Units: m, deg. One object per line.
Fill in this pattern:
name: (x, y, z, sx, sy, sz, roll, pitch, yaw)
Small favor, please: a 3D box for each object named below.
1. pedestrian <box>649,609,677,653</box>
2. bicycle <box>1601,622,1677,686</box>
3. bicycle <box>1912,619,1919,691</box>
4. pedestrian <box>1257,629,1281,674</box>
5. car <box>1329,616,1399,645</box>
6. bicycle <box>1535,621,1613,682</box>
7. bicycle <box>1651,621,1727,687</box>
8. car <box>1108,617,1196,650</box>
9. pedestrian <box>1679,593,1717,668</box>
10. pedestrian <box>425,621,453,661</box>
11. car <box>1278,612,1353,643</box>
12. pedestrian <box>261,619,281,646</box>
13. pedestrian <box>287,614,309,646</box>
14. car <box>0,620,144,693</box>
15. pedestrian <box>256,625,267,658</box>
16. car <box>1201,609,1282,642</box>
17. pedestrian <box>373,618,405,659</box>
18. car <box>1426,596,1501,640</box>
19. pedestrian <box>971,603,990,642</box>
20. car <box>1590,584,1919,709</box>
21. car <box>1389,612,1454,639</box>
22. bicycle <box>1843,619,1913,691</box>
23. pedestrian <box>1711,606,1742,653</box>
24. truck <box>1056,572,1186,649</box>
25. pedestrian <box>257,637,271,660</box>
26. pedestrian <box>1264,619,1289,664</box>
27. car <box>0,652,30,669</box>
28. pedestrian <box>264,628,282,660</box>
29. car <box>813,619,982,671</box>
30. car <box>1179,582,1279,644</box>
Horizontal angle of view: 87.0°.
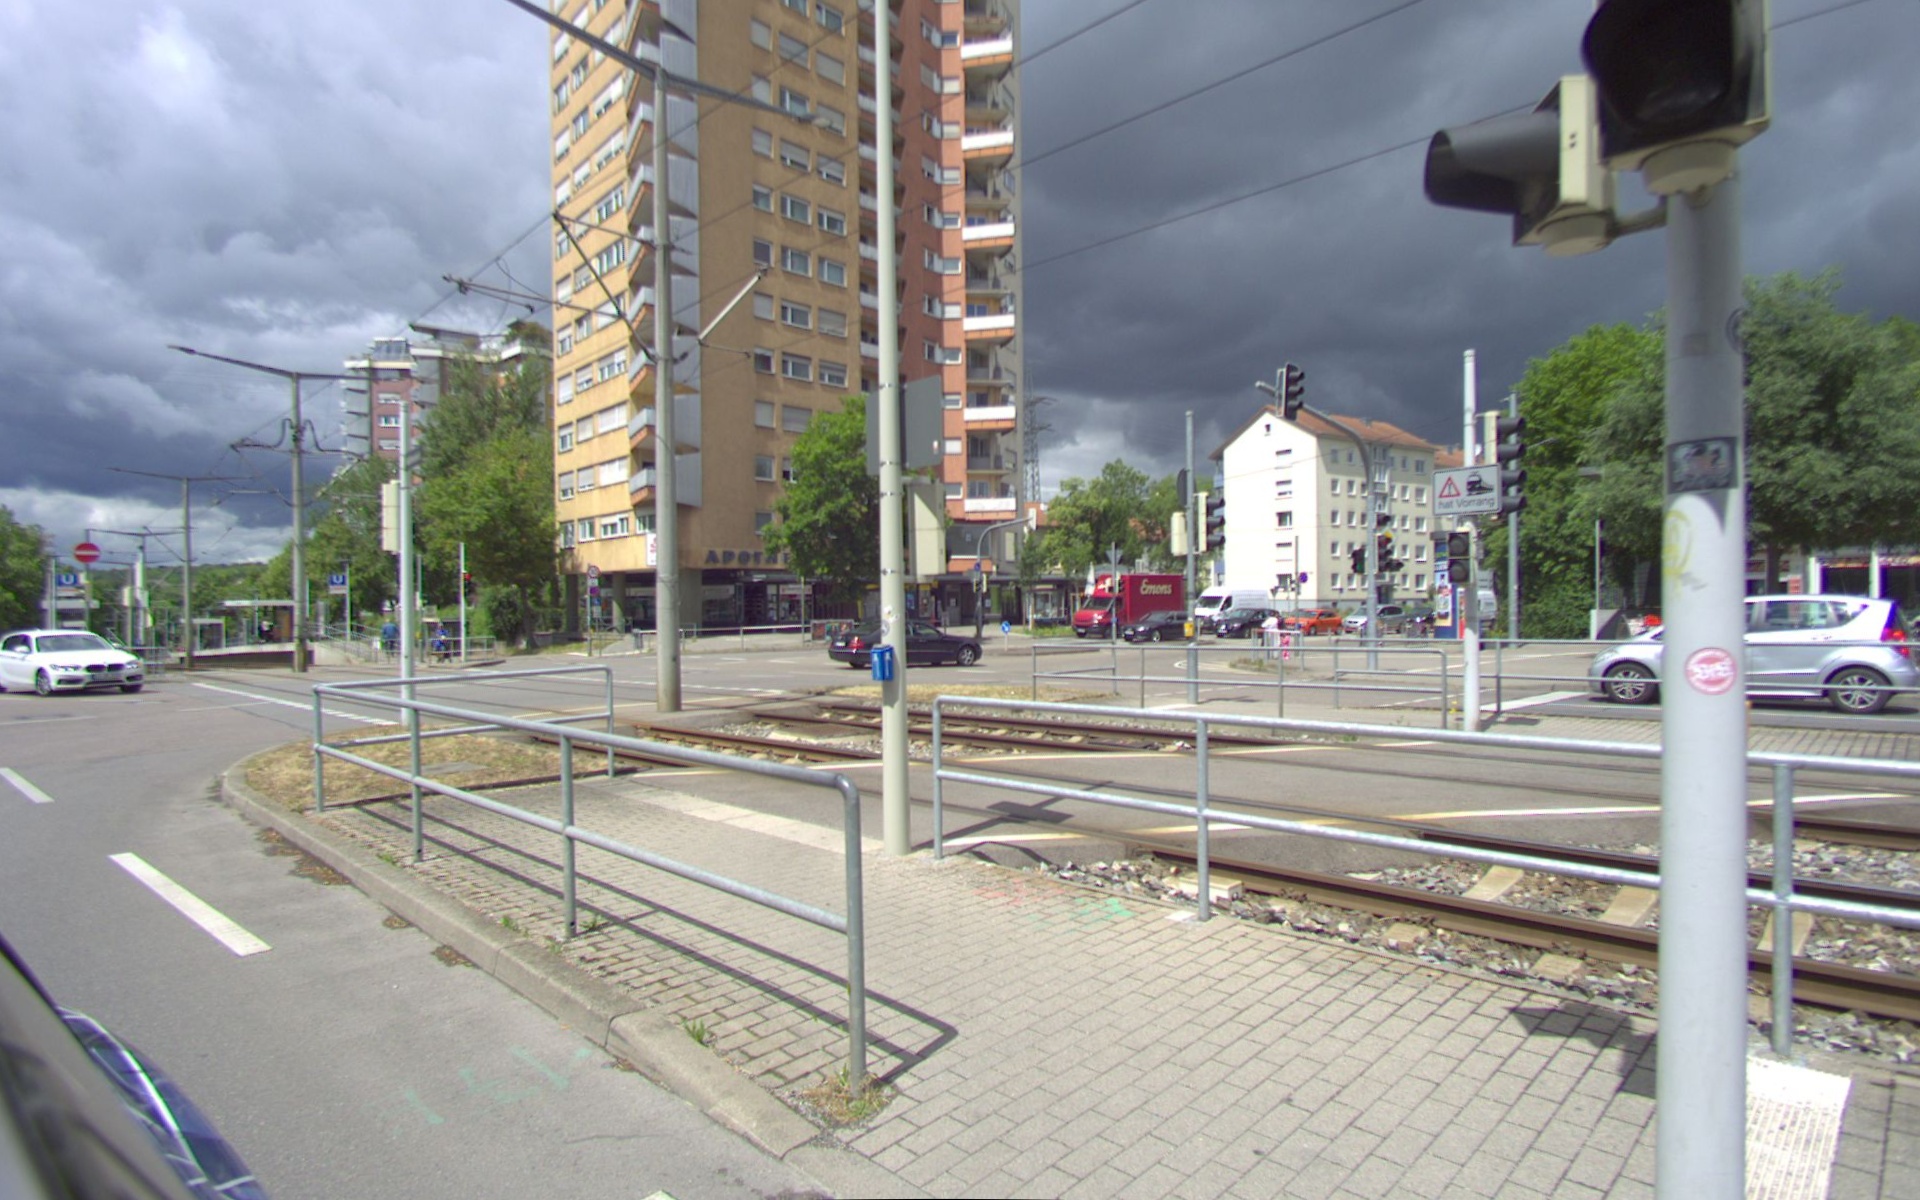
pedestrian: (-13.525, 1.409, 46.088, 0.854, 1.949, 0.907, -3, -3, 45)
bicycle: (12.330, 0.950, 18.345, 0.705, 1.074, 2.399, -3, -3, 44)
bicycle: (15.280, 0.822, 15.674, 0.705, 1.074, 2.399, -3, -3, 44)
pedestrian: (10.347, 1.716, 33.855, 0.510, 1.483, 0.528, 0, -2, -20)
car: (23.507, 1.752, 58.869, 3.935, 1.614, 2.004, 0, -2, -37)
bicycle: (11.604, 0.940, 19.092, 0.705, 1.074, 2.399, -3, -3, 44)
bicycle: (12.870, 0.926, 17.829, 0.705, 1.074, 2.399, -3, -3, 44)
car: (9.094, 1.562, 47.834, 3.936, 1.506, 2.004, 1, -2, -39)
pedestrian: (16.400, 0.678, 22.500, 0.600, 1.655, 0.412, -3, -3, 42)
pedestrian: (-20.290, 1.598, 39.414, 0.644, 1.525, 0.716, -2, -2, 19)
car: (19.526, 1.509, 55.526, 3.935, 1.614, 2.004, 0, -2, -37)
pedestrian: (-40.671, 1.921, 59.714, 0.748, 1.618, 0.853, -3, -3, 45)
pedestrian: (-36.510, 1.653, 55.812, 0.748, 1.787, 0.853, -3, -3, 45)
car: (-20.283, 1.298, 22.823, 4.264, 1.462, 1.774, -4, -3, 34)
pedestrian: (-45.521, 2.720, 65.950, 0.524, 2.158, 0.609, 1, -3, -41)
car: (14.506, 1.299, 52.036, 3.935, 1.614, 2.004, 0, -2, -37)
pedestrian: (-24.335, 1.637, 43.136, 0.721, 1.609, 0.898, -2, 3, 45)
car: (33.321, 1.209, 66.962, 4.817, 2.809, 2.442, 0, -2, -37)
pedestrian: (0.988, 1.079, 48.800, 0.637, 1.825, 0.883, -1, -2, 18)
car: (11.372, 0.641, 14.354, 1.796, 1.544, 3.758, 1, -2, -42)
car: (28.790, 1.593, 63.058, 3.935, 1.614, 2.004, 0, -2, -37)
bicycle: (14.712, 0.847, 16.196, 0.705, 1.074, 2.399, -3, -3, 44)
pedestrian: (25.023, 0.962, 33.034, 0.563, 1.483, 0.527, 0, -2, -14)
truck: (8.309, 0.586, 51.693, 6.987, 3.703, 2.551, 1, -2, -39)
pedestrian: (-44.079, 3.089, 64.075, 0.636, 1.426, 0.659, 1, -3, -44)
pedestrian: (10.784, 1.408, 34.486, 0.562, 1.483, 0.528, 0, -2, -20)
car: (-73.869, 4.724, 78.907, 1.779, 1.224, 4.027, 1, -2, -41)
pedestrian: (-42.493, 2.735, 62.594, 0.573, 1.946, 0.760, -3, -3, 43)
car: (-1.796, 1.279, 29.662, 4.597, 1.409, 1.982, 0, -2, -35)
car: (15.137, 0.764, 56.718, 6.202, 3.324, 2.004, 1, -2, -38)
